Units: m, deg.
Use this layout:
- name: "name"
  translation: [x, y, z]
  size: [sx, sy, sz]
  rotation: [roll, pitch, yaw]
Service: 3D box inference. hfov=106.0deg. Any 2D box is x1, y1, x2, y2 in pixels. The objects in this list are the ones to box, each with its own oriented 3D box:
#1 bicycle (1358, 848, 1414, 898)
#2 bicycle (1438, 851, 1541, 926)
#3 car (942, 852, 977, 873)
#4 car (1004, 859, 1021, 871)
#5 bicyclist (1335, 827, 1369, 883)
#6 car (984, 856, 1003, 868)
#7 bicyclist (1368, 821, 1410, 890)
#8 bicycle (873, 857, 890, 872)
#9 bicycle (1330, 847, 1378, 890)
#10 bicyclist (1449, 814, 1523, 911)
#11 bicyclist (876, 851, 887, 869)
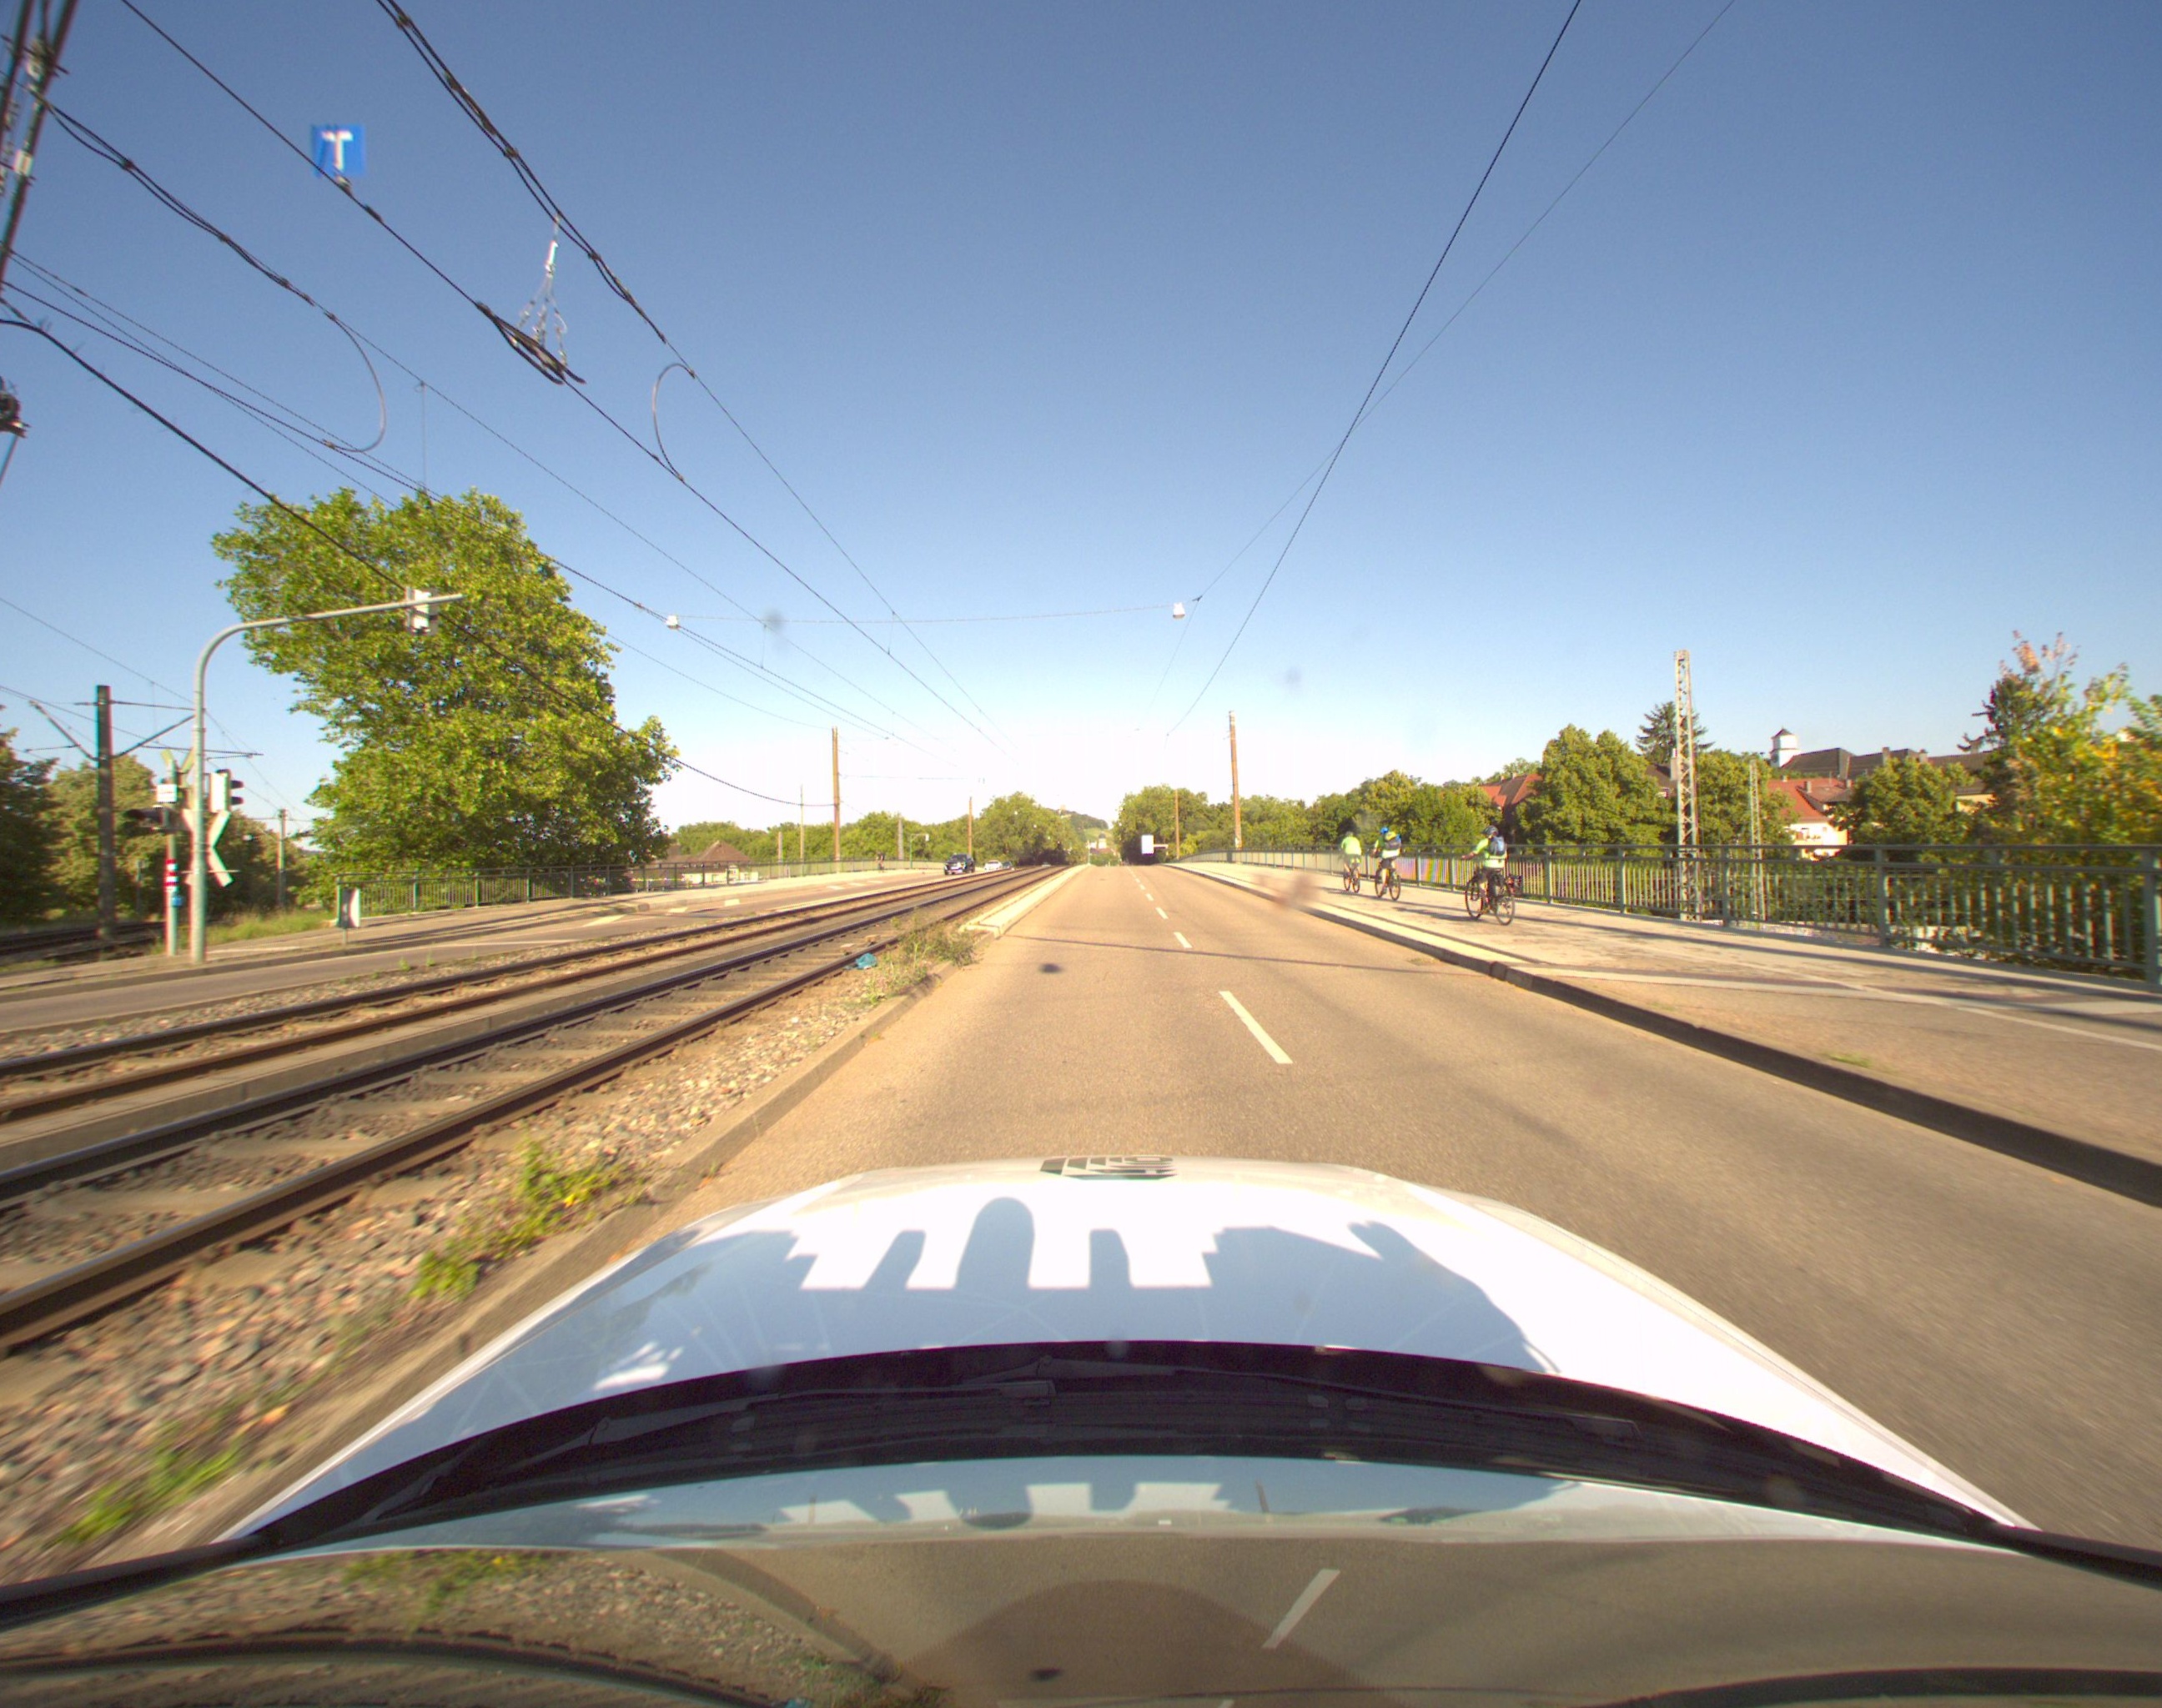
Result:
- name: "bicycle"
  translation: [7.284, 0.433, 19.521]
  size: [0.623, 1.122, 2.043]
  rotation: [-1, -1, 2]
- name: "bicycle"
  translation: [6.808, 0.533, 13.721]
  size: [0.681, 1.122, 2.217]
  rotation: [-1, 1, 2]
- name: "car"
  translation: [-9.035, 0.628, 60.836]
  size: [1.842, 1.502, 4.221]
  rotation: [-1, 0, 2]
- name: "car"
  translation: [-9.517, 1.516, 112.697]
  size: [1.772, 1.650, 4.449]
  rotation: [-1, 0, 2]
- name: "bicyclist"
  translation: [7.476, 0.031, 22.487]
  size: [0.623, 1.508, 1.006]
  rotation: [-1, 0, 2]
- name: "car"
  translation: [-10.814, 0.993, 101.024]
  size: [1.677, 1.356, 4.922]
  rotation: [-1, 0, 2]
- name: "bicyclist"
  translation: [7.305, 0.034, 19.339]
  size: [0.623, 1.592, 0.931]
  rotation: [-1, -1, 2]
- name: "bicycle"
  translation: [-15.438, 0.796, 63.031]
  size: [0.623, 1.122, 2.260]
  rotation: [-1, -1, 2]
- name: "bicycle"
  translation: [7.482, 0.372, 22.440]
  size: [0.623, 1.122, 2.261]
  rotation: [-1, 0, 2]
- name: "bicyclist"
  translation: [6.790, 0.135, 13.700]
  size: [0.809, 1.562, 0.897]
  rotation: [-1, 1, 2]
- name: "bicyclist"
  translation: [-15.442, 0.472, 63.064]
  size: [0.623, 1.432, 0.969]
  rotation: [-1, -1, 1]
